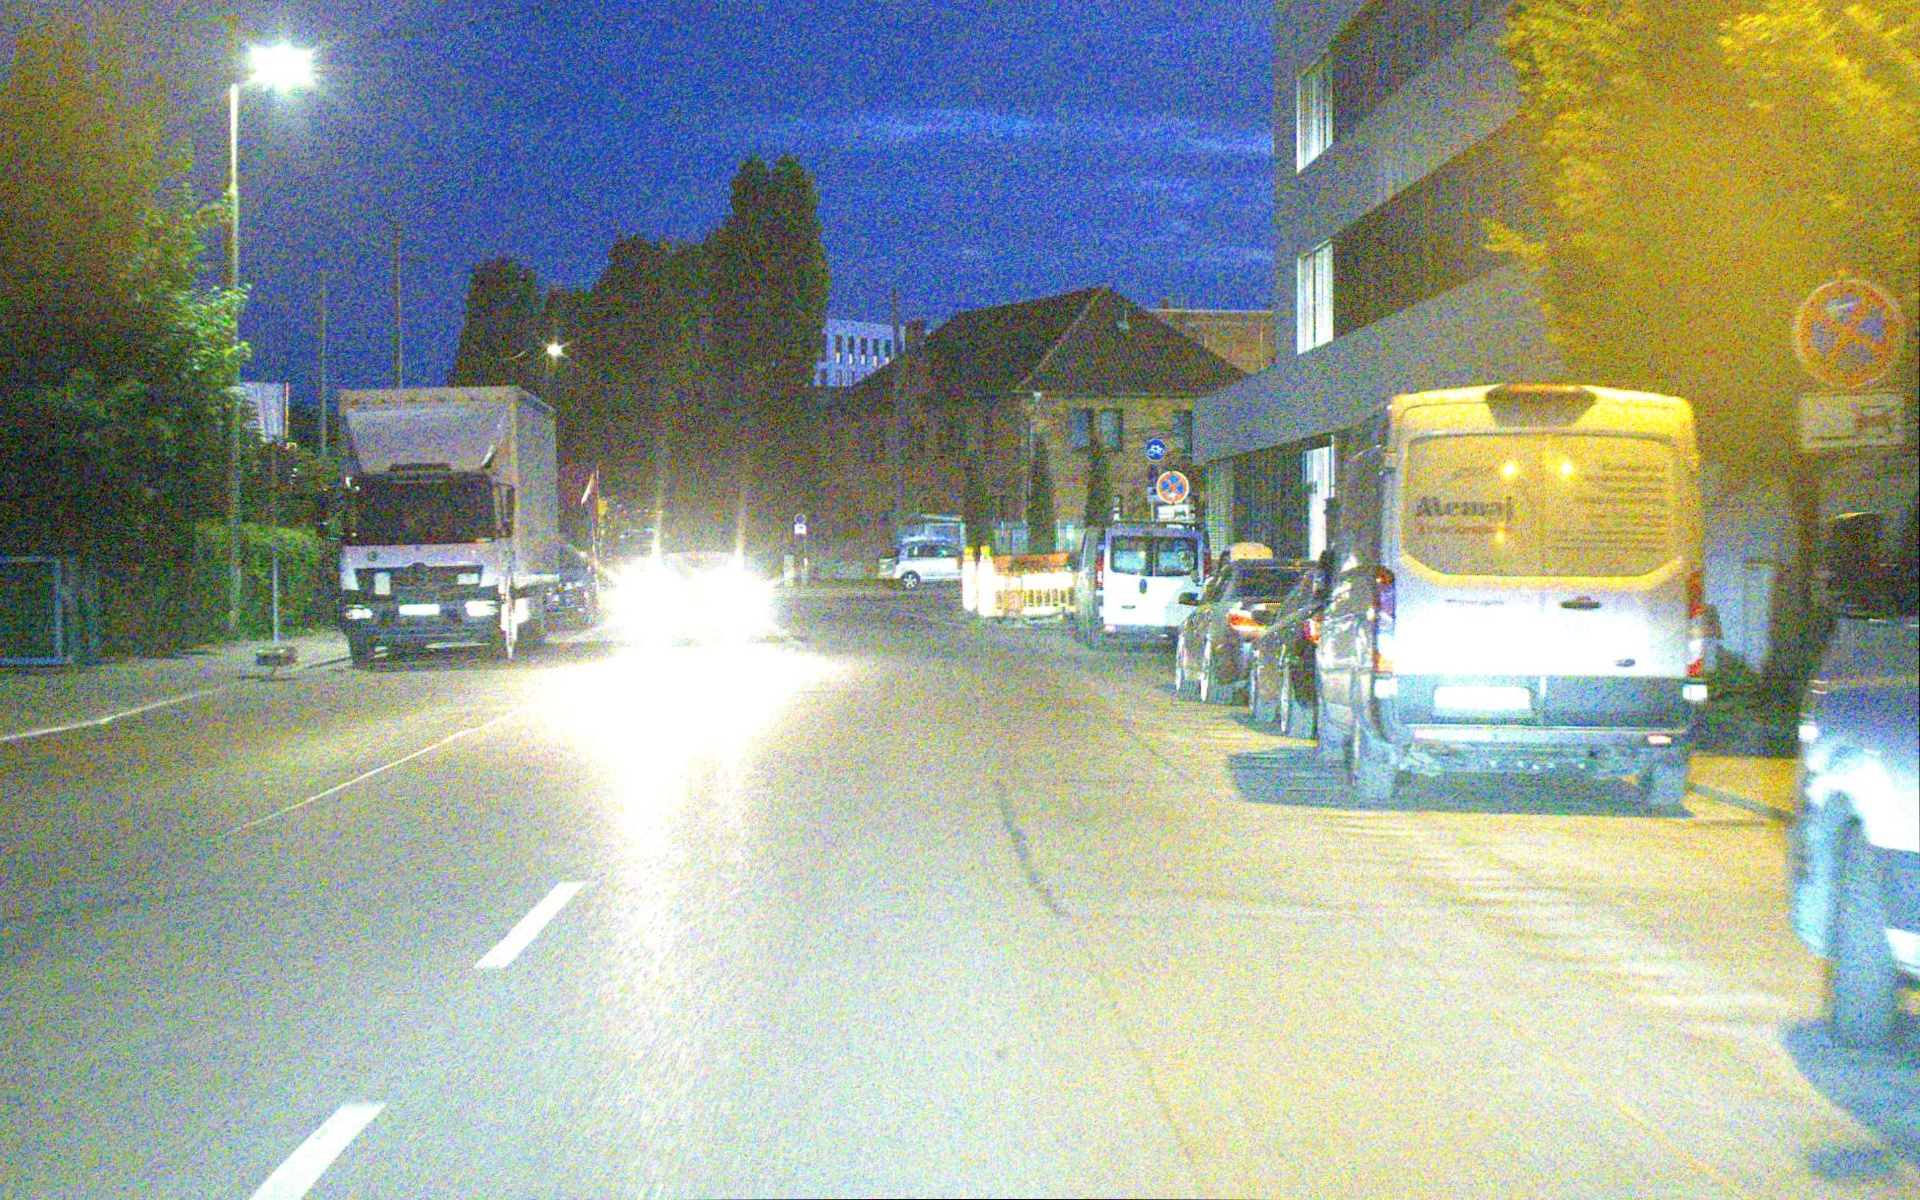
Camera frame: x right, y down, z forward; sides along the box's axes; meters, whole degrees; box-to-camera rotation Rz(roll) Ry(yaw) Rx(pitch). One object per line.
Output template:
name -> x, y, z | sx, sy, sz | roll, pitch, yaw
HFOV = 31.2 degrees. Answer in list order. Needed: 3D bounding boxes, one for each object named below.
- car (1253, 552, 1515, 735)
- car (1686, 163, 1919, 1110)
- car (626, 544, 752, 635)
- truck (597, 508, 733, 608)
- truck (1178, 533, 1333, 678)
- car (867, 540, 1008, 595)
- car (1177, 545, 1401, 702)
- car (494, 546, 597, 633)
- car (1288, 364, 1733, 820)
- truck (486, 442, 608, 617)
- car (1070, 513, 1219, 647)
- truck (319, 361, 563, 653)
car -> 3.523, 0.314, 29.292 | 1.769, 1.407, 4.550 | 0, 1, 1
car -> 3.726, 0.143, 8.514 | 2.128, 2.562, 5.910 | 3, 1, -4
car -> -4.338, -0.196, 55.523 | 1.857, 1.415, 4.000 | 0, 1, -2
truck -> -11.575, -1.639, 134.003 | 2.754, 3.770, 9.139 | -1, 1, -22
truck -> 3.465, 0.035, 40.764 | 1.370, 1.639, 3.813 | 0, 1, -2
car -> -0.765, -1.137, 117.157 | 4.325, 1.640, 1.893 | -3, 2, -23
car -> 3.312, 0.185, 35.520 | 1.946, 1.484, 5.010 | 0, 1, 1
car -> -8.519, -0.244, 70.983 | 1.943, 1.711, 5.199 | 0, 1, -5
car -> 3.428, -0.098, 22.615 | 1.993, 2.517, 5.909 | 3, 1, 1
truck -> -10.346, -1.734, 85.507 | 2.772, 4.106, 9.343 | 0, 1, -8
car -> 2.879, -0.338, 54.594 | 1.993, 2.007, 4.912 | -1, 1, -1
truck -> -7.707, -1.358, 52.193 | 2.746, 4.020, 9.561 | 0, 1, -3
